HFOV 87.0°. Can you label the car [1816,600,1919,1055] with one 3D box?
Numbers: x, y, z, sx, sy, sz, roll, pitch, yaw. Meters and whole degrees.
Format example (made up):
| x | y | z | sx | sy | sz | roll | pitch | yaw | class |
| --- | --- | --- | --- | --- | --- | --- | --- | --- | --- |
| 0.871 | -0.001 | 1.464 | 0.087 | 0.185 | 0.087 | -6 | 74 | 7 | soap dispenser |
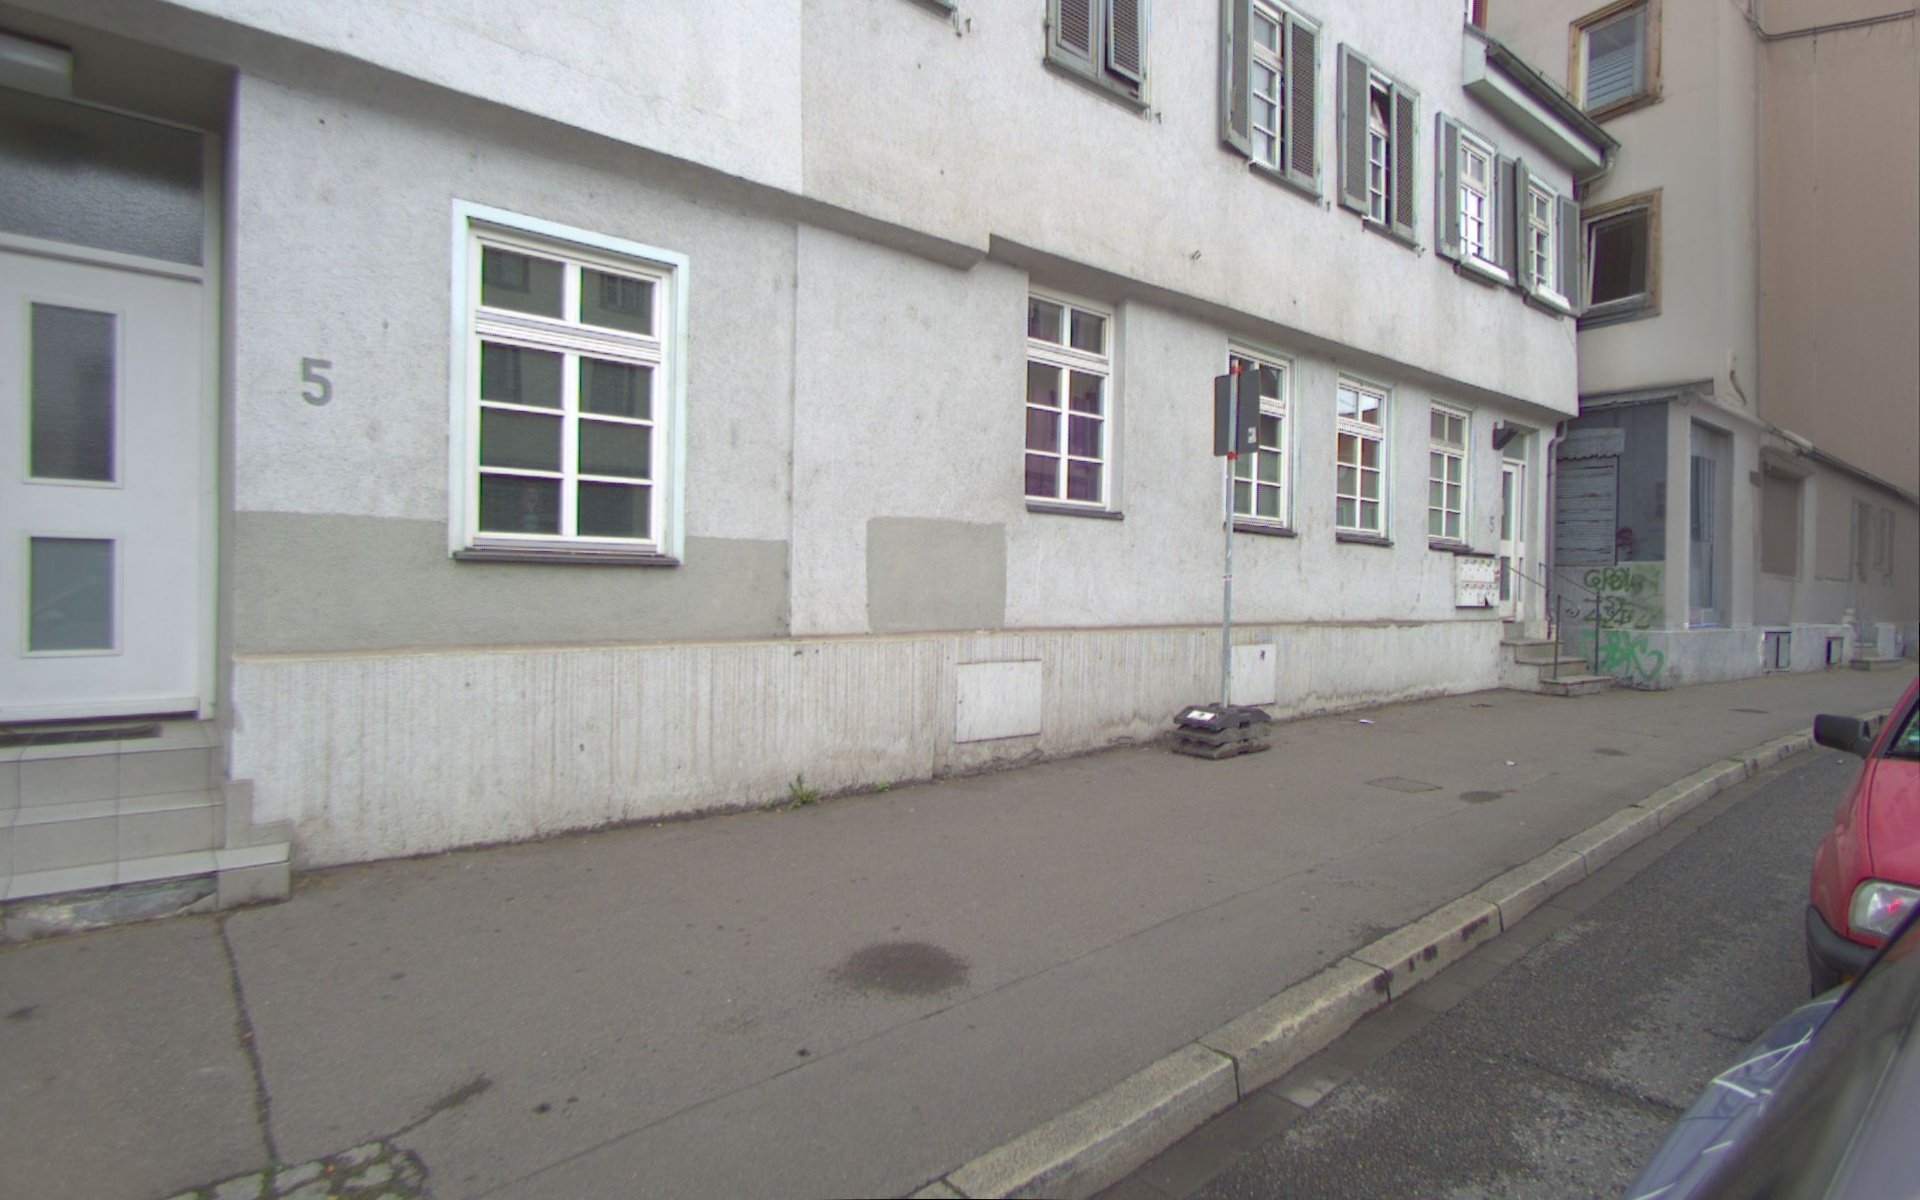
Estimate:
| x | y | z | sx | sy | sz | roll | pitch | yaw | class |
| --- | --- | --- | --- | --- | --- | --- | --- | --- | --- |
| 5.048 | 0.737 | 4.096 | 3.930 | 1.485 | 1.802 | 0 | -2 | -41 | car |
